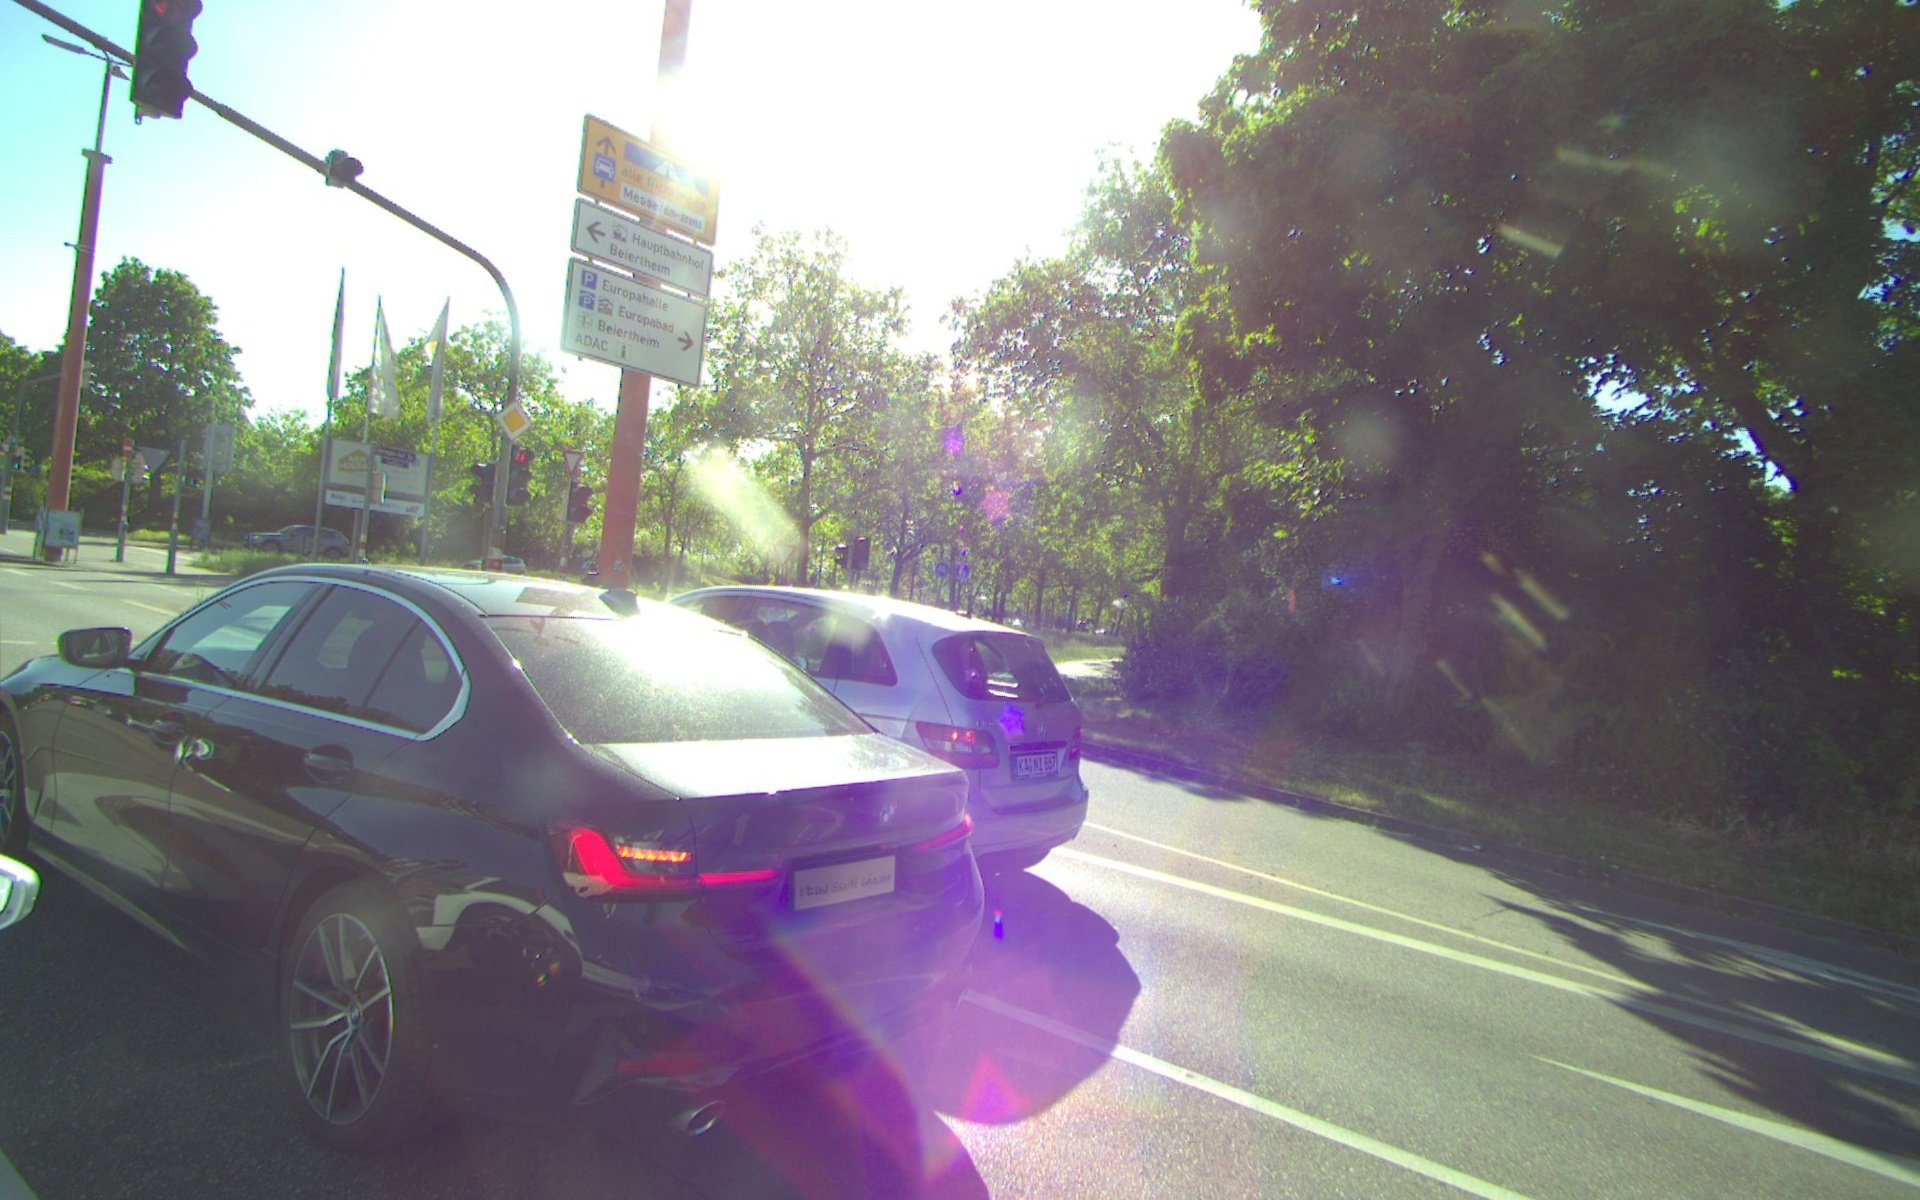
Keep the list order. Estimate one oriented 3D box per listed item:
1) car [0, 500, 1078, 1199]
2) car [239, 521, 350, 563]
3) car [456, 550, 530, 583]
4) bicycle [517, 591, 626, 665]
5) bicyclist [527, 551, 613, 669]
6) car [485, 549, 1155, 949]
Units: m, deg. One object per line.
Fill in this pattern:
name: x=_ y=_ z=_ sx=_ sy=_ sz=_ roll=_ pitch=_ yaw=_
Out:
car: x=-1.995 y=0.545 z=3.825 sx=4.371 sy=1.415 sz=1.871 roll=7 pitch=0 yaw=33
car: x=-33.737 y=-2.919 z=51.105 sx=1.760 sy=1.503 sz=4.311 roll=7 pitch=-1 yaw=40
car: x=-28.254 y=-1.988 z=60.996 sx=1.652 sy=1.485 sz=3.996 roll=7 pitch=-1 yaw=20
bicycle: x=-6.303 y=0.465 z=16.443 sx=0.709 sy=1.070 sz=1.833 roll=7 pitch=-1 yaw=11
bicyclist: x=-6.273 y=0.170 z=16.239 sx=0.722 sy=1.763 sz=0.997 roll=7 pitch=0 yaw=8
car: x=-1.013 y=0.708 z=6.478 sx=3.963 sy=1.597 sz=1.741 roll=7 pitch=0 yaw=33
